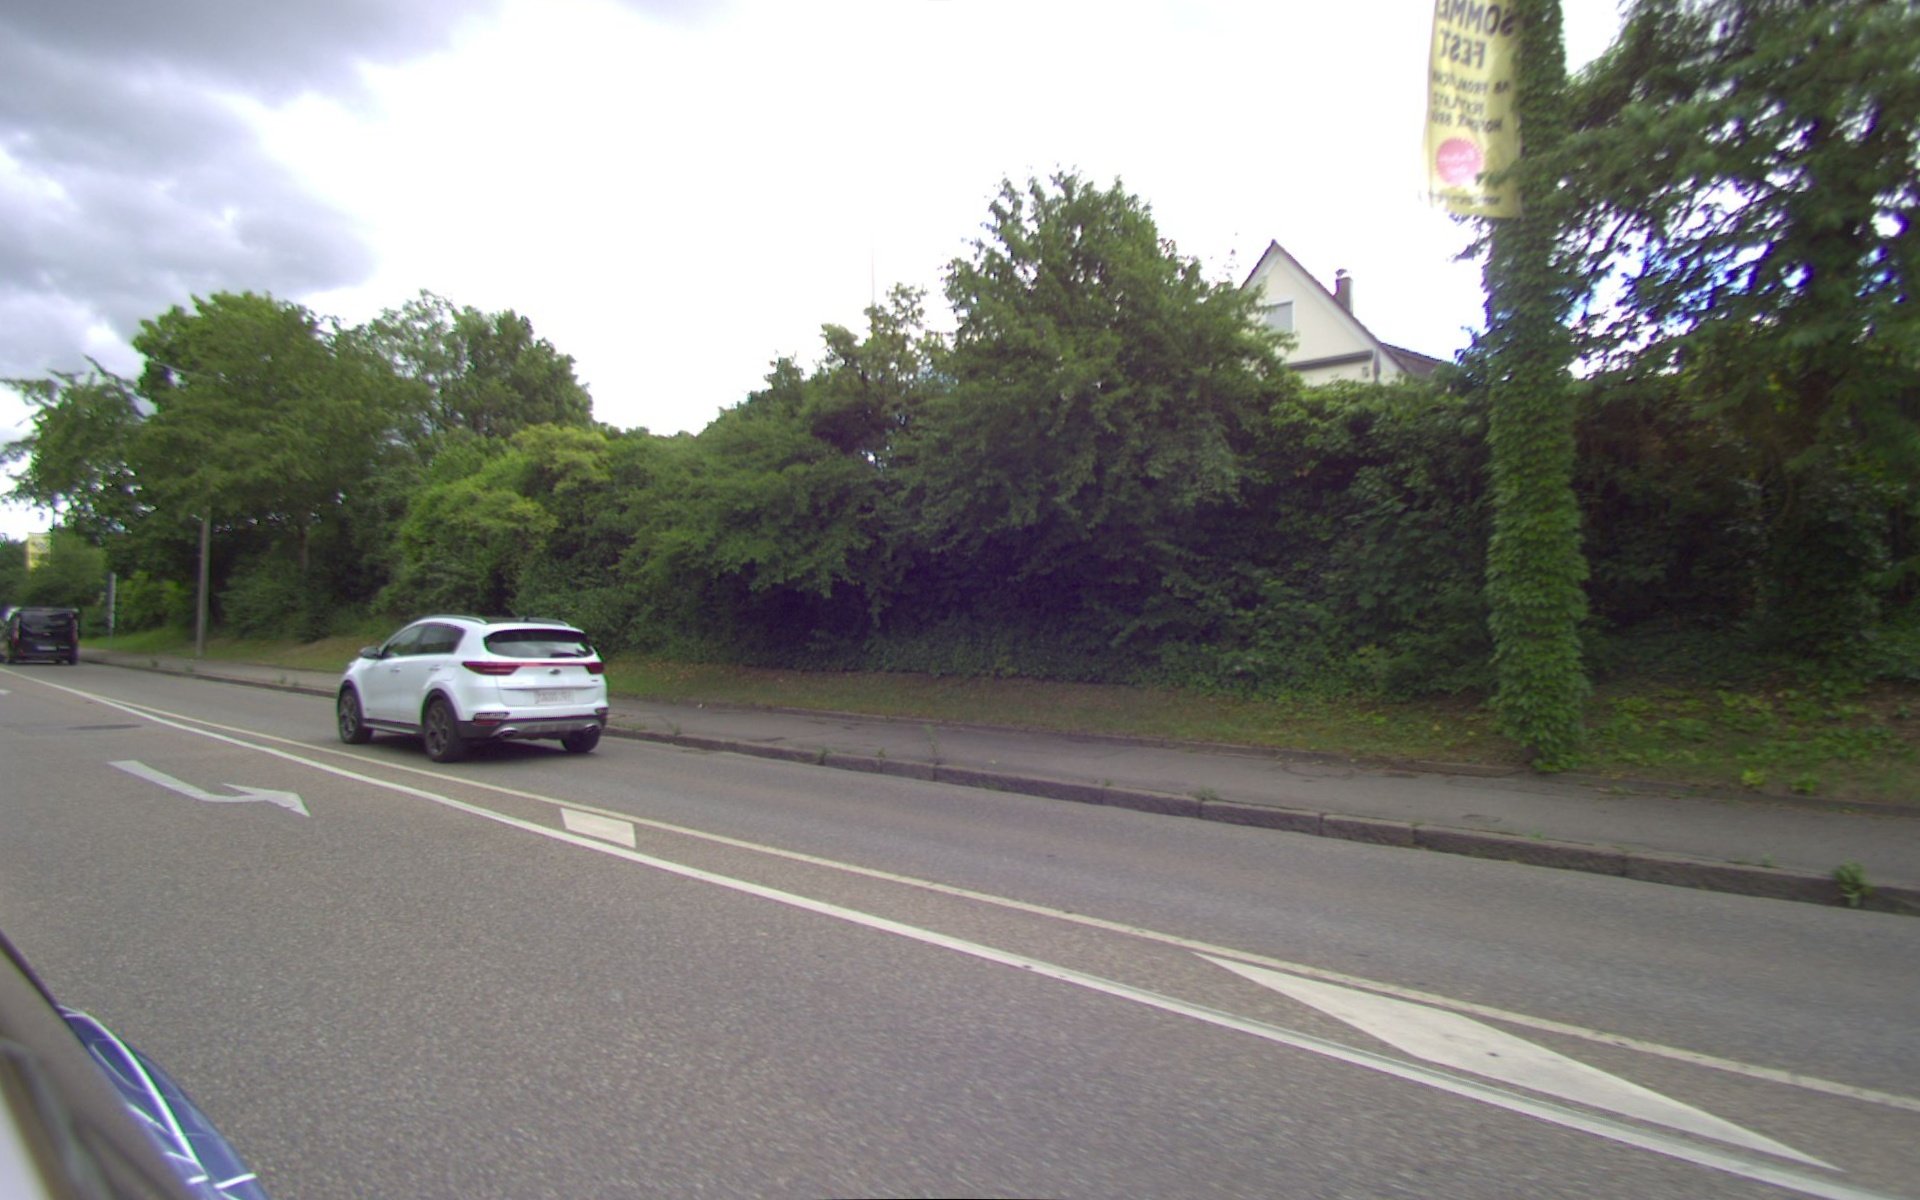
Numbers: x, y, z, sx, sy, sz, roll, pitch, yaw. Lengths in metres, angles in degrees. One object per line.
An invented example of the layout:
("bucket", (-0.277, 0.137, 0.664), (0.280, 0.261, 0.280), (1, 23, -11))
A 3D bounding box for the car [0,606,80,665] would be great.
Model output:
("car", (-34.723, 1.318, 37.822), (5.112, 2.052, 1.973), (-1, -2, 40))

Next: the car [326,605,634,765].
("car", (-5.980, 0.932, 12.412), (4.156, 1.633, 1.823), (-1, -3, 40))
